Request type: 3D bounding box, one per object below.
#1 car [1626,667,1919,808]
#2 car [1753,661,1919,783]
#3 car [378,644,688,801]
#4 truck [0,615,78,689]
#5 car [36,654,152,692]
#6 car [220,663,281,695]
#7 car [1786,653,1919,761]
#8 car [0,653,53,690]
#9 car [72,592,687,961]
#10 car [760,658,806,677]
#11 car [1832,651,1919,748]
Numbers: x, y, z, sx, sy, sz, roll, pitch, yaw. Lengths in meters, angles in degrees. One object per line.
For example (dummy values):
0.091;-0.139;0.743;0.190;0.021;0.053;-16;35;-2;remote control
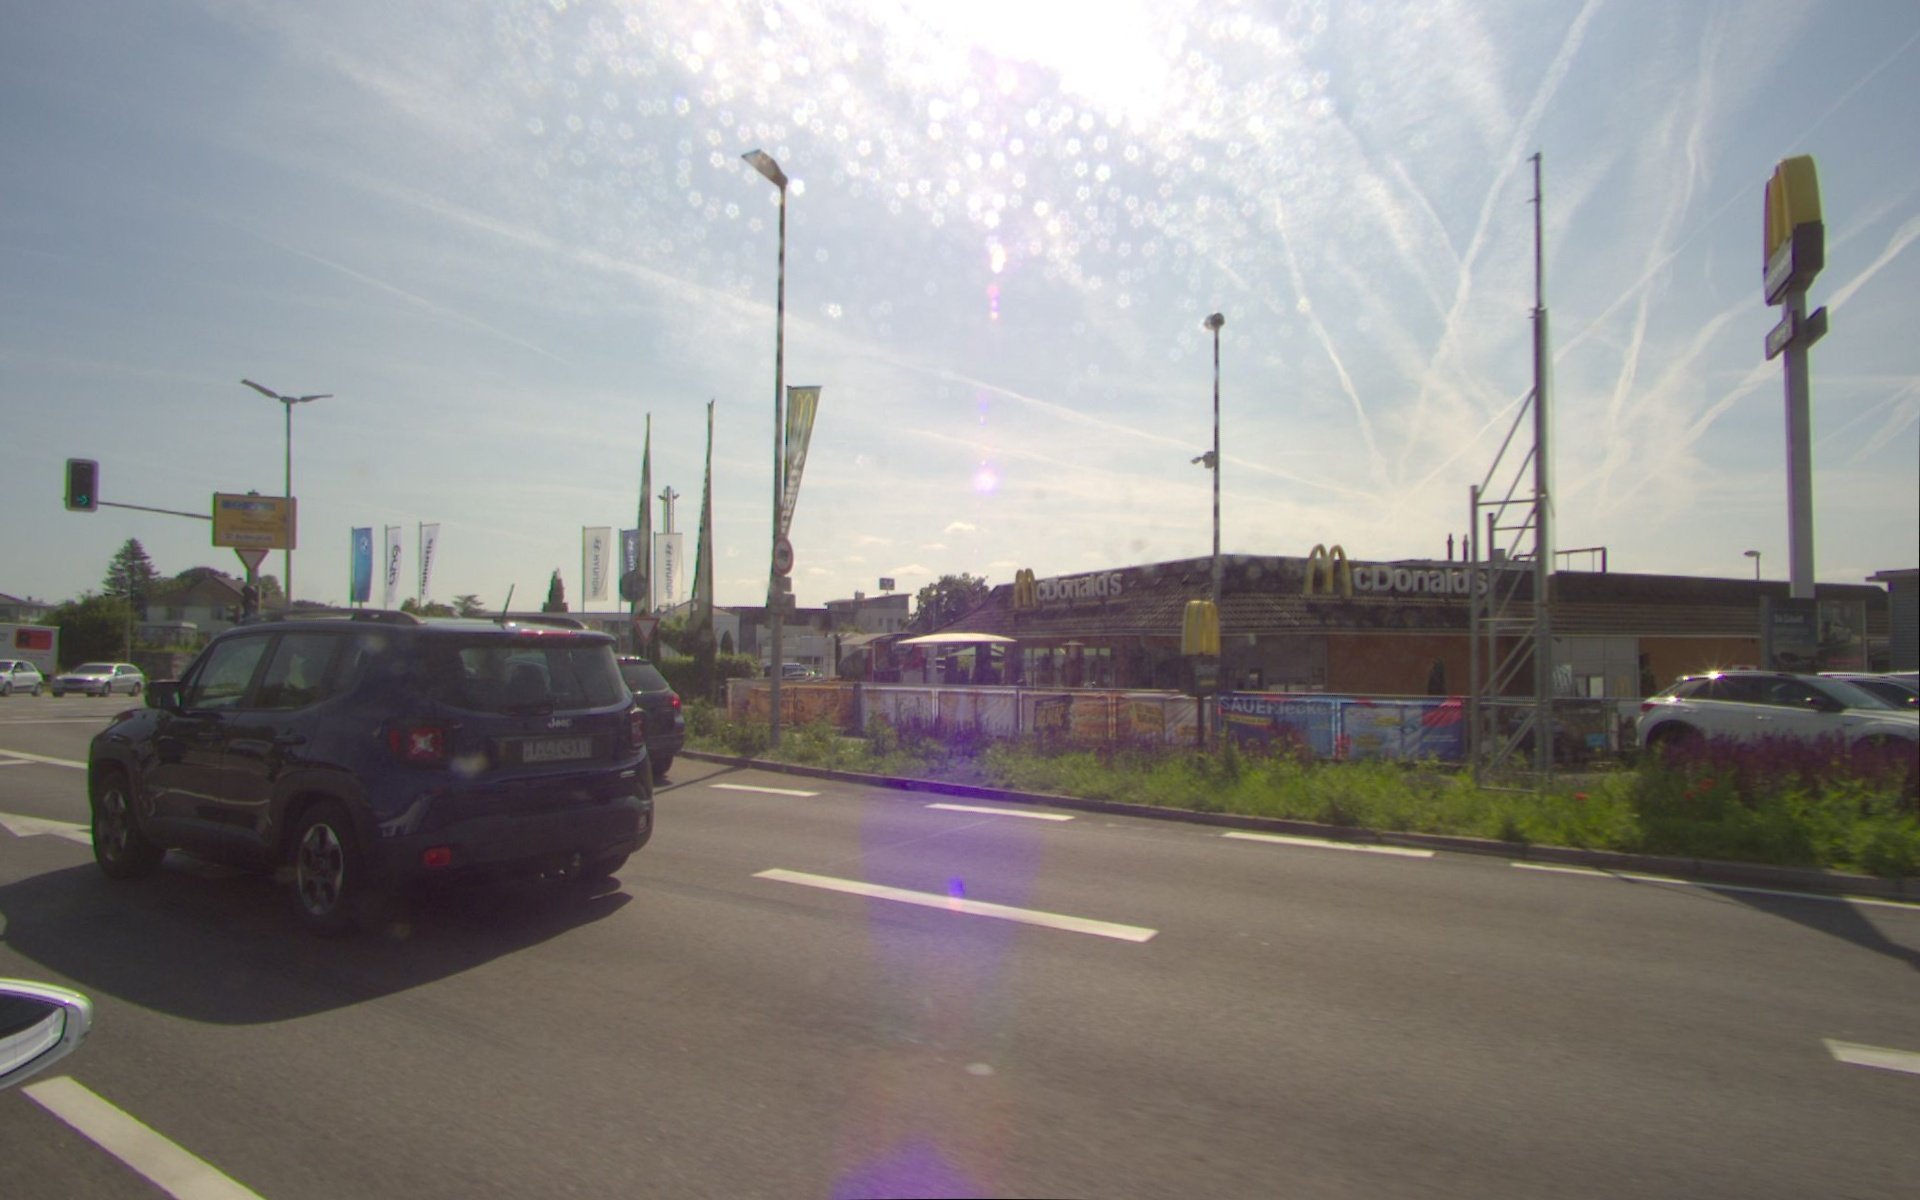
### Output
12.200;1.836;14.267;1.830;1.596;4.222;0;-2;-22;car
14.691;1.836;15.126;1.747;1.692;3.899;0;-2;-22;car
-5.436;1.351;12.471;4.402;1.539;1.983;-2;-2;43;car
-51.389;2.486;50.954;2.716;3.668;9.713;0;-7;14;truck
-37.434;3.185;43.467;1.966;1.522;4.995;2;-5;-19;car
-38.084;4.216;53.833;1.970;1.594;3.987;3;-5;-26;car
16.376;1.757;16.327;1.747;1.692;4.159;0;-2;-22;car
-40.332;3.034;42.216;1.682;1.521;3.751;2;-5;-19;car
-3.775;0.859;6.360;3.943;1.675;1.767;-1;-2;32;car
-17.295;6.576;97.883;4.118;1.638;2.005;0;-1;-20;car
18.396;1.774;17.218;1.881;1.692;4.805;0;-2;-22;car
